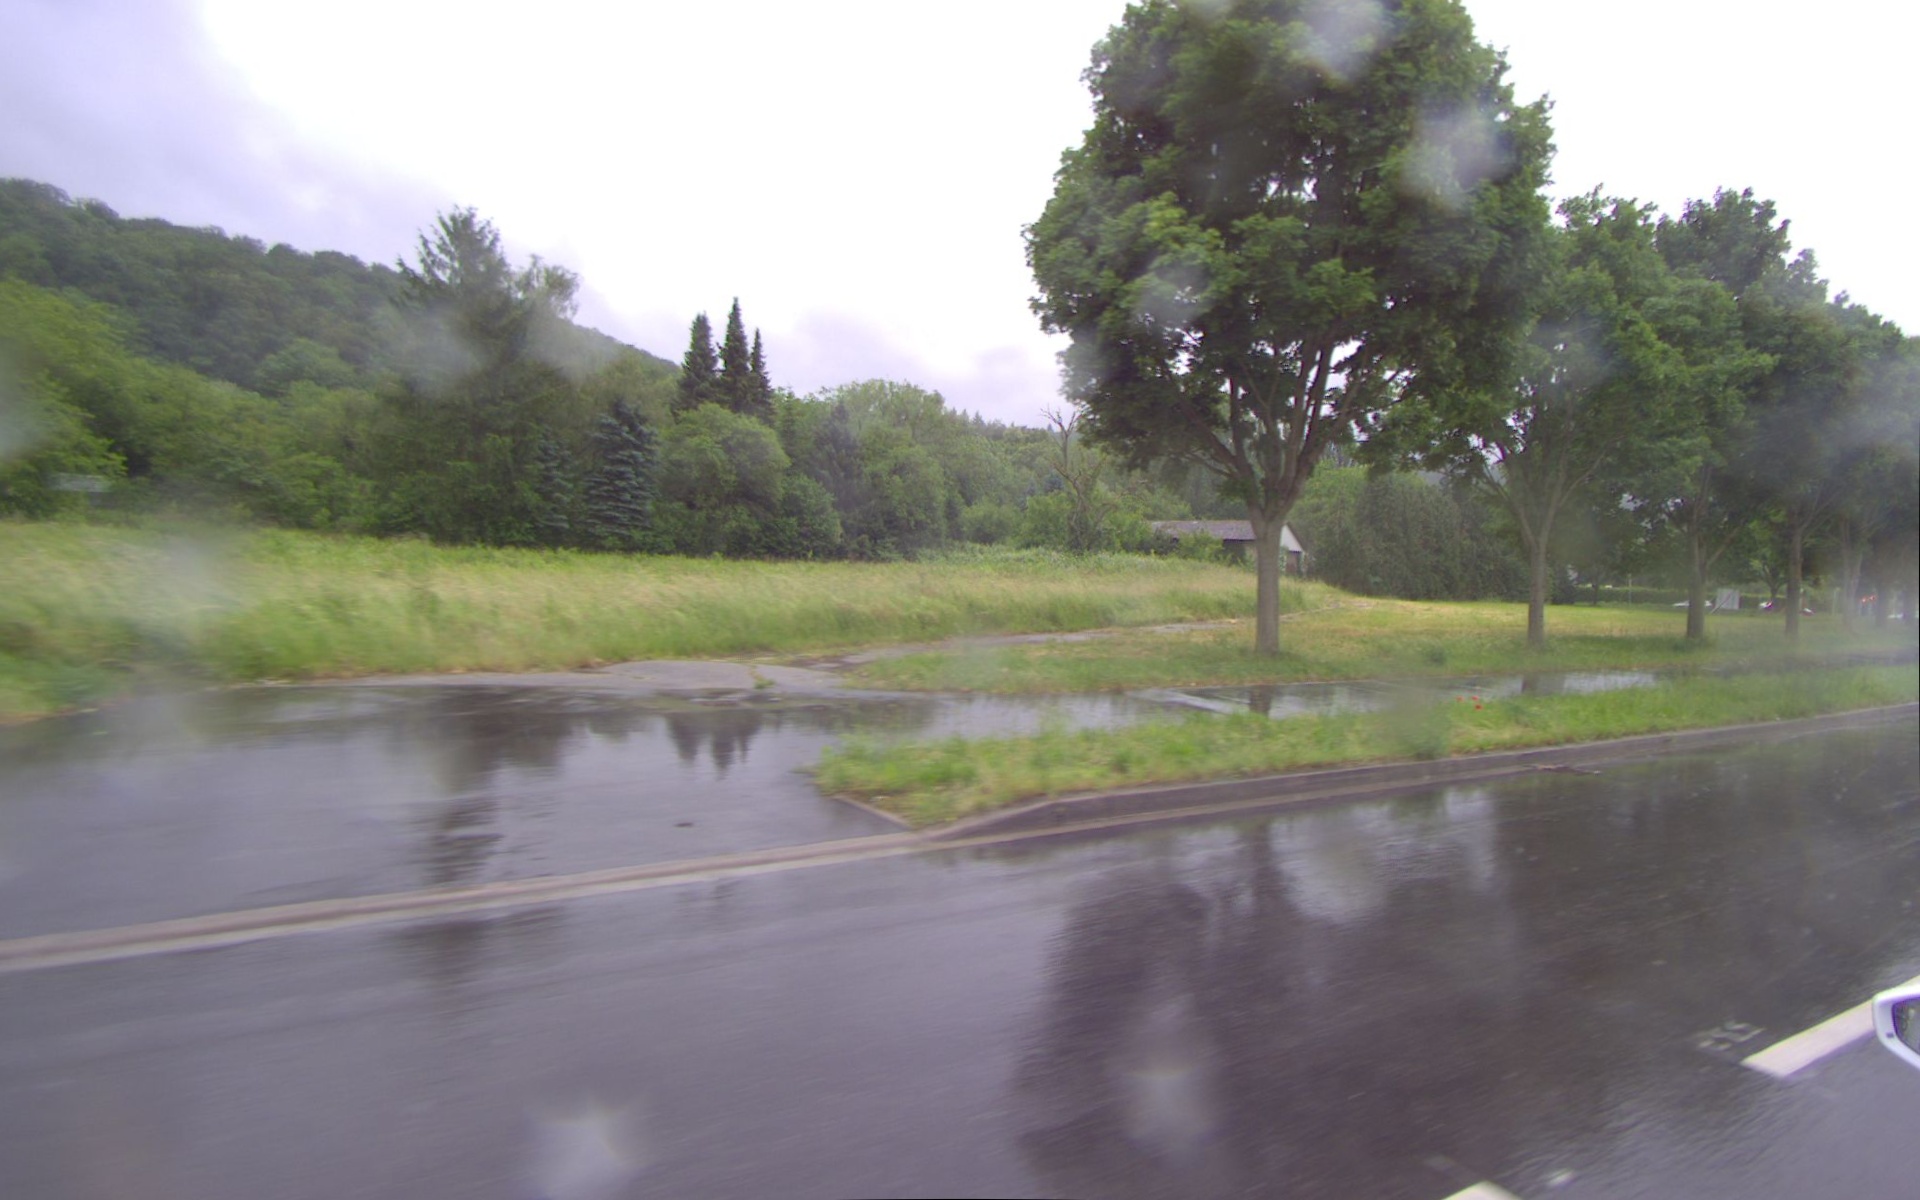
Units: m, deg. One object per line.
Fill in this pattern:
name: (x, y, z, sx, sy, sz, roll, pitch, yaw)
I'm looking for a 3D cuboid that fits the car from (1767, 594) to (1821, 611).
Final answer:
car: (92.283, 0.244, 111.181, 1.720, 1.601, 4.333, 1, 3, -43)
